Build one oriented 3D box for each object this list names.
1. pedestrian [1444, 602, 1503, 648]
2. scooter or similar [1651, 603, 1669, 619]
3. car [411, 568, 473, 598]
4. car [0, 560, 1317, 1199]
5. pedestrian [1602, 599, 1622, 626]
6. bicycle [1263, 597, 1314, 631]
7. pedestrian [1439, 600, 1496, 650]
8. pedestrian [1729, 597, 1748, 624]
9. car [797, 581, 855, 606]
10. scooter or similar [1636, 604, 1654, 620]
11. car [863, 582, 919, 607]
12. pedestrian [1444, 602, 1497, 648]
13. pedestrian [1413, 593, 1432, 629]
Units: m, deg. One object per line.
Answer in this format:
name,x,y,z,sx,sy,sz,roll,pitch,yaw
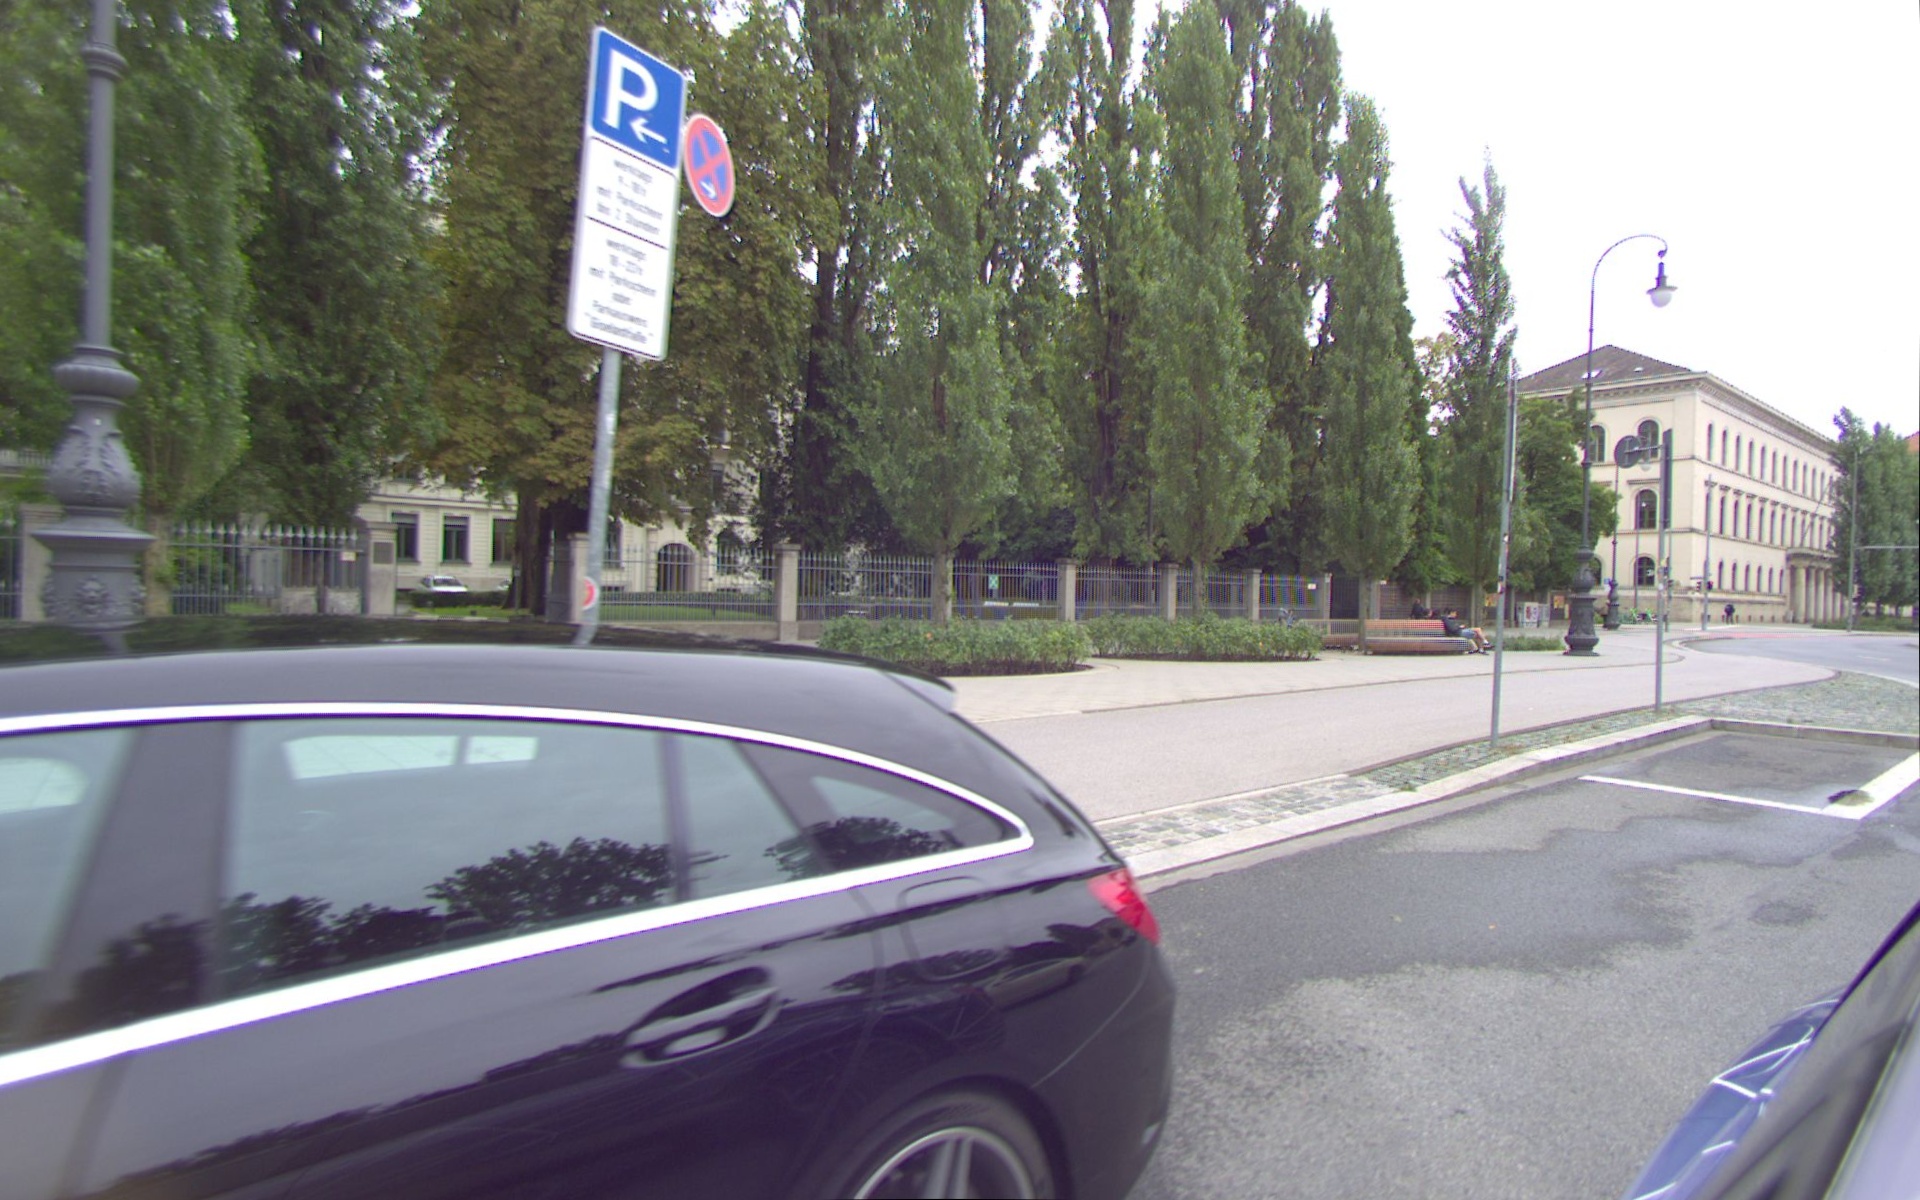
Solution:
pedestrian,13.932,0.661,27.510,1.354,1.222,0.802,0,0,22
scooter or similar,51.179,0.793,73.968,1.626,1.156,0.567,1,0,-38
car,-26.452,-0.885,51.607,1.963,1.458,4.527,1,1,-38
car,-1.449,0.608,1.521,4.290,1.326,1.740,0,1,-39
pedestrian,39.704,0.730,61.635,0.803,1.618,0.738,1,0,-38
bicycle,13.085,0.552,40.263,0.672,1.255,2.951,3,2,44
pedestrian,13.351,0.645,26.626,1.317,1.291,0.800,0,0,29
pedestrian,60.048,0.793,78.034,0.984,2.039,0.944,1,0,-38
car,-8.833,-0.418,66.448,1.962,1.594,4.470,1,0,-34
scooter or similar,50.381,0.858,74.446,1.626,1.156,0.567,1,0,-38
car,-4.716,-0.389,68.487,1.914,1.594,4.267,1,0,-34
pedestrian,14.203,0.683,28.188,1.251,1.232,0.571,0,0,21
pedestrian,21.056,0.482,46.074,0.527,1.640,0.590,1,-1,-39
